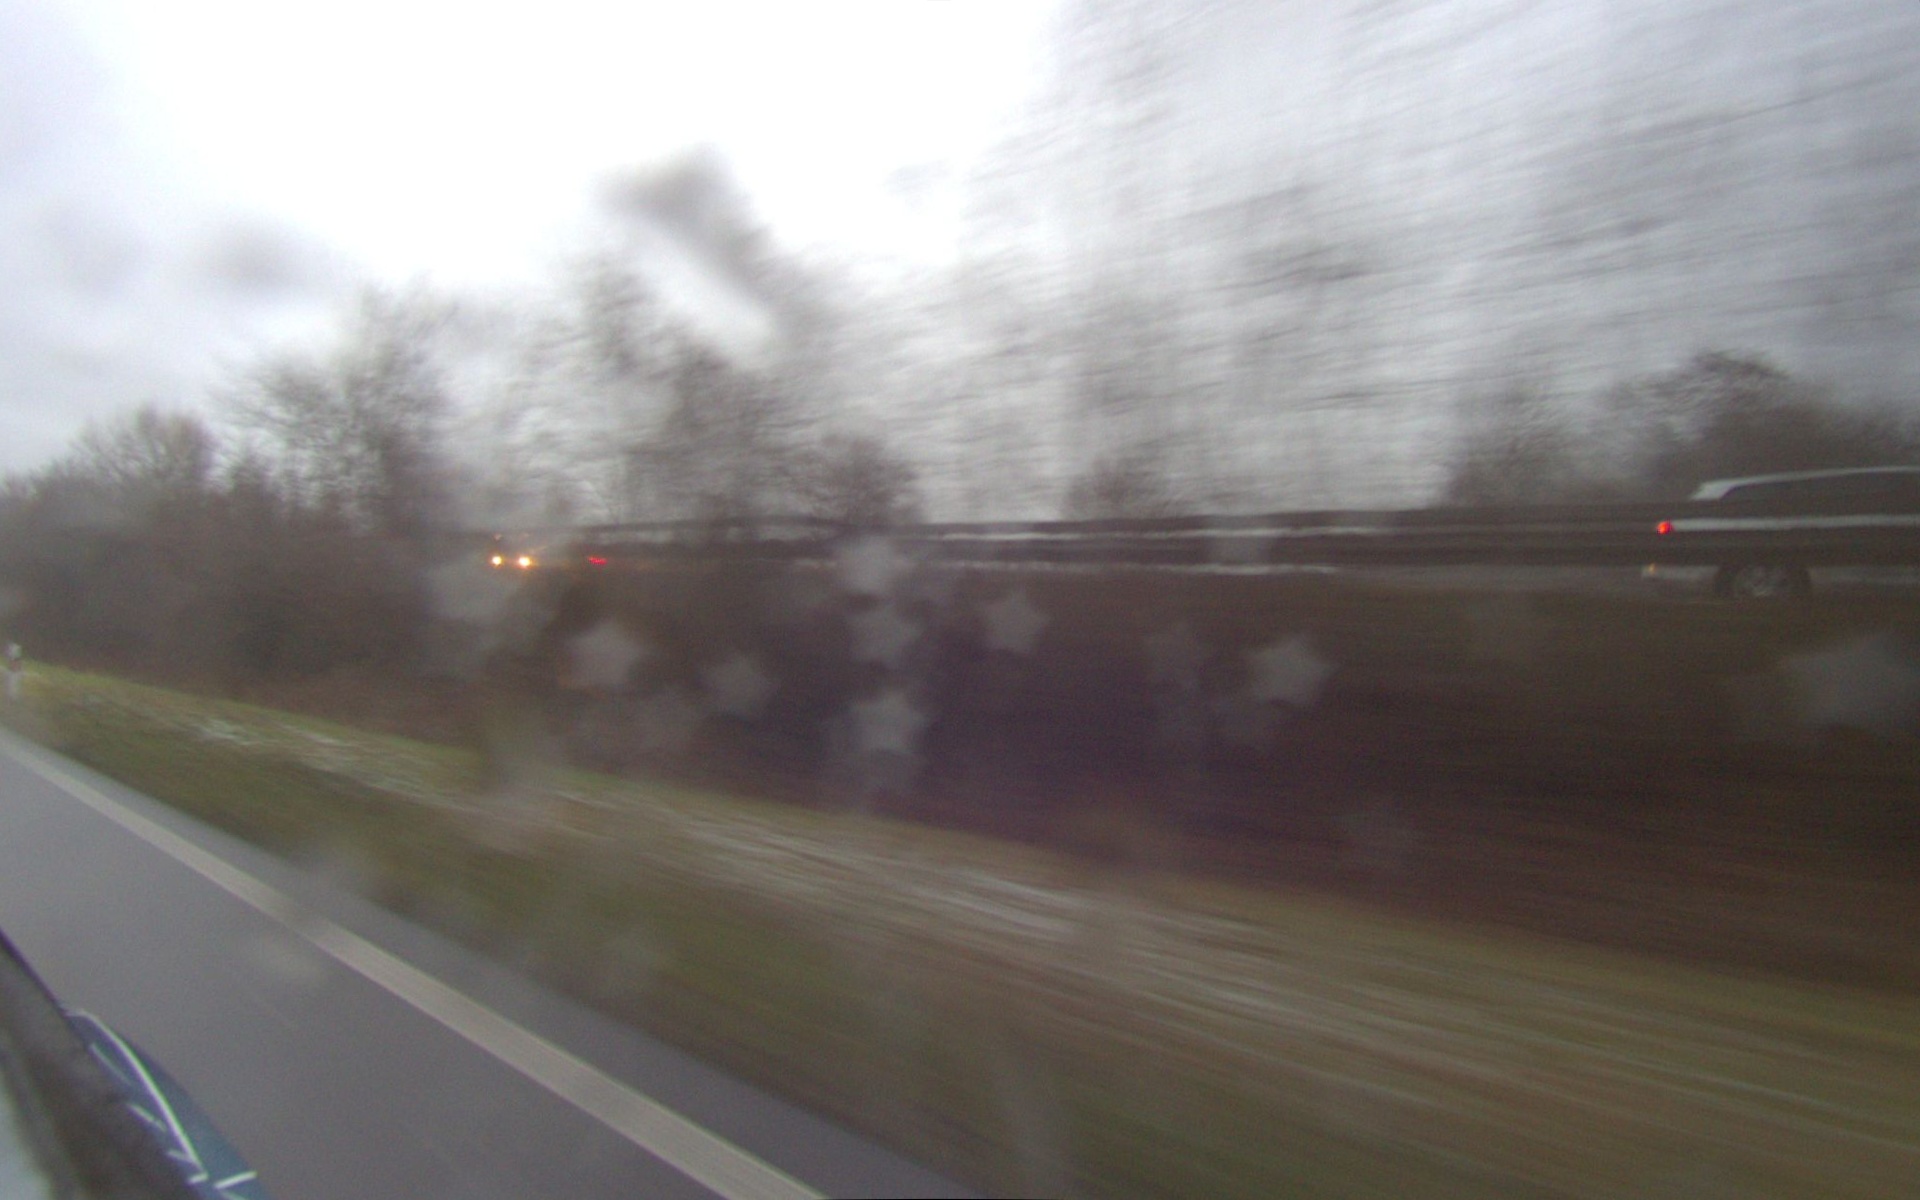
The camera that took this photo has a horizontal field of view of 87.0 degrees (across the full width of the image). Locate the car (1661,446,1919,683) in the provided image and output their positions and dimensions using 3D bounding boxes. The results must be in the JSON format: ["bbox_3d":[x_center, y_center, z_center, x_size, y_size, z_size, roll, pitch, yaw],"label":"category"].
[{"bbox_3d":[9.283,-0.353,8.930,1.971,2.027,4.756,-7,9,-44],"label":"car"}]
